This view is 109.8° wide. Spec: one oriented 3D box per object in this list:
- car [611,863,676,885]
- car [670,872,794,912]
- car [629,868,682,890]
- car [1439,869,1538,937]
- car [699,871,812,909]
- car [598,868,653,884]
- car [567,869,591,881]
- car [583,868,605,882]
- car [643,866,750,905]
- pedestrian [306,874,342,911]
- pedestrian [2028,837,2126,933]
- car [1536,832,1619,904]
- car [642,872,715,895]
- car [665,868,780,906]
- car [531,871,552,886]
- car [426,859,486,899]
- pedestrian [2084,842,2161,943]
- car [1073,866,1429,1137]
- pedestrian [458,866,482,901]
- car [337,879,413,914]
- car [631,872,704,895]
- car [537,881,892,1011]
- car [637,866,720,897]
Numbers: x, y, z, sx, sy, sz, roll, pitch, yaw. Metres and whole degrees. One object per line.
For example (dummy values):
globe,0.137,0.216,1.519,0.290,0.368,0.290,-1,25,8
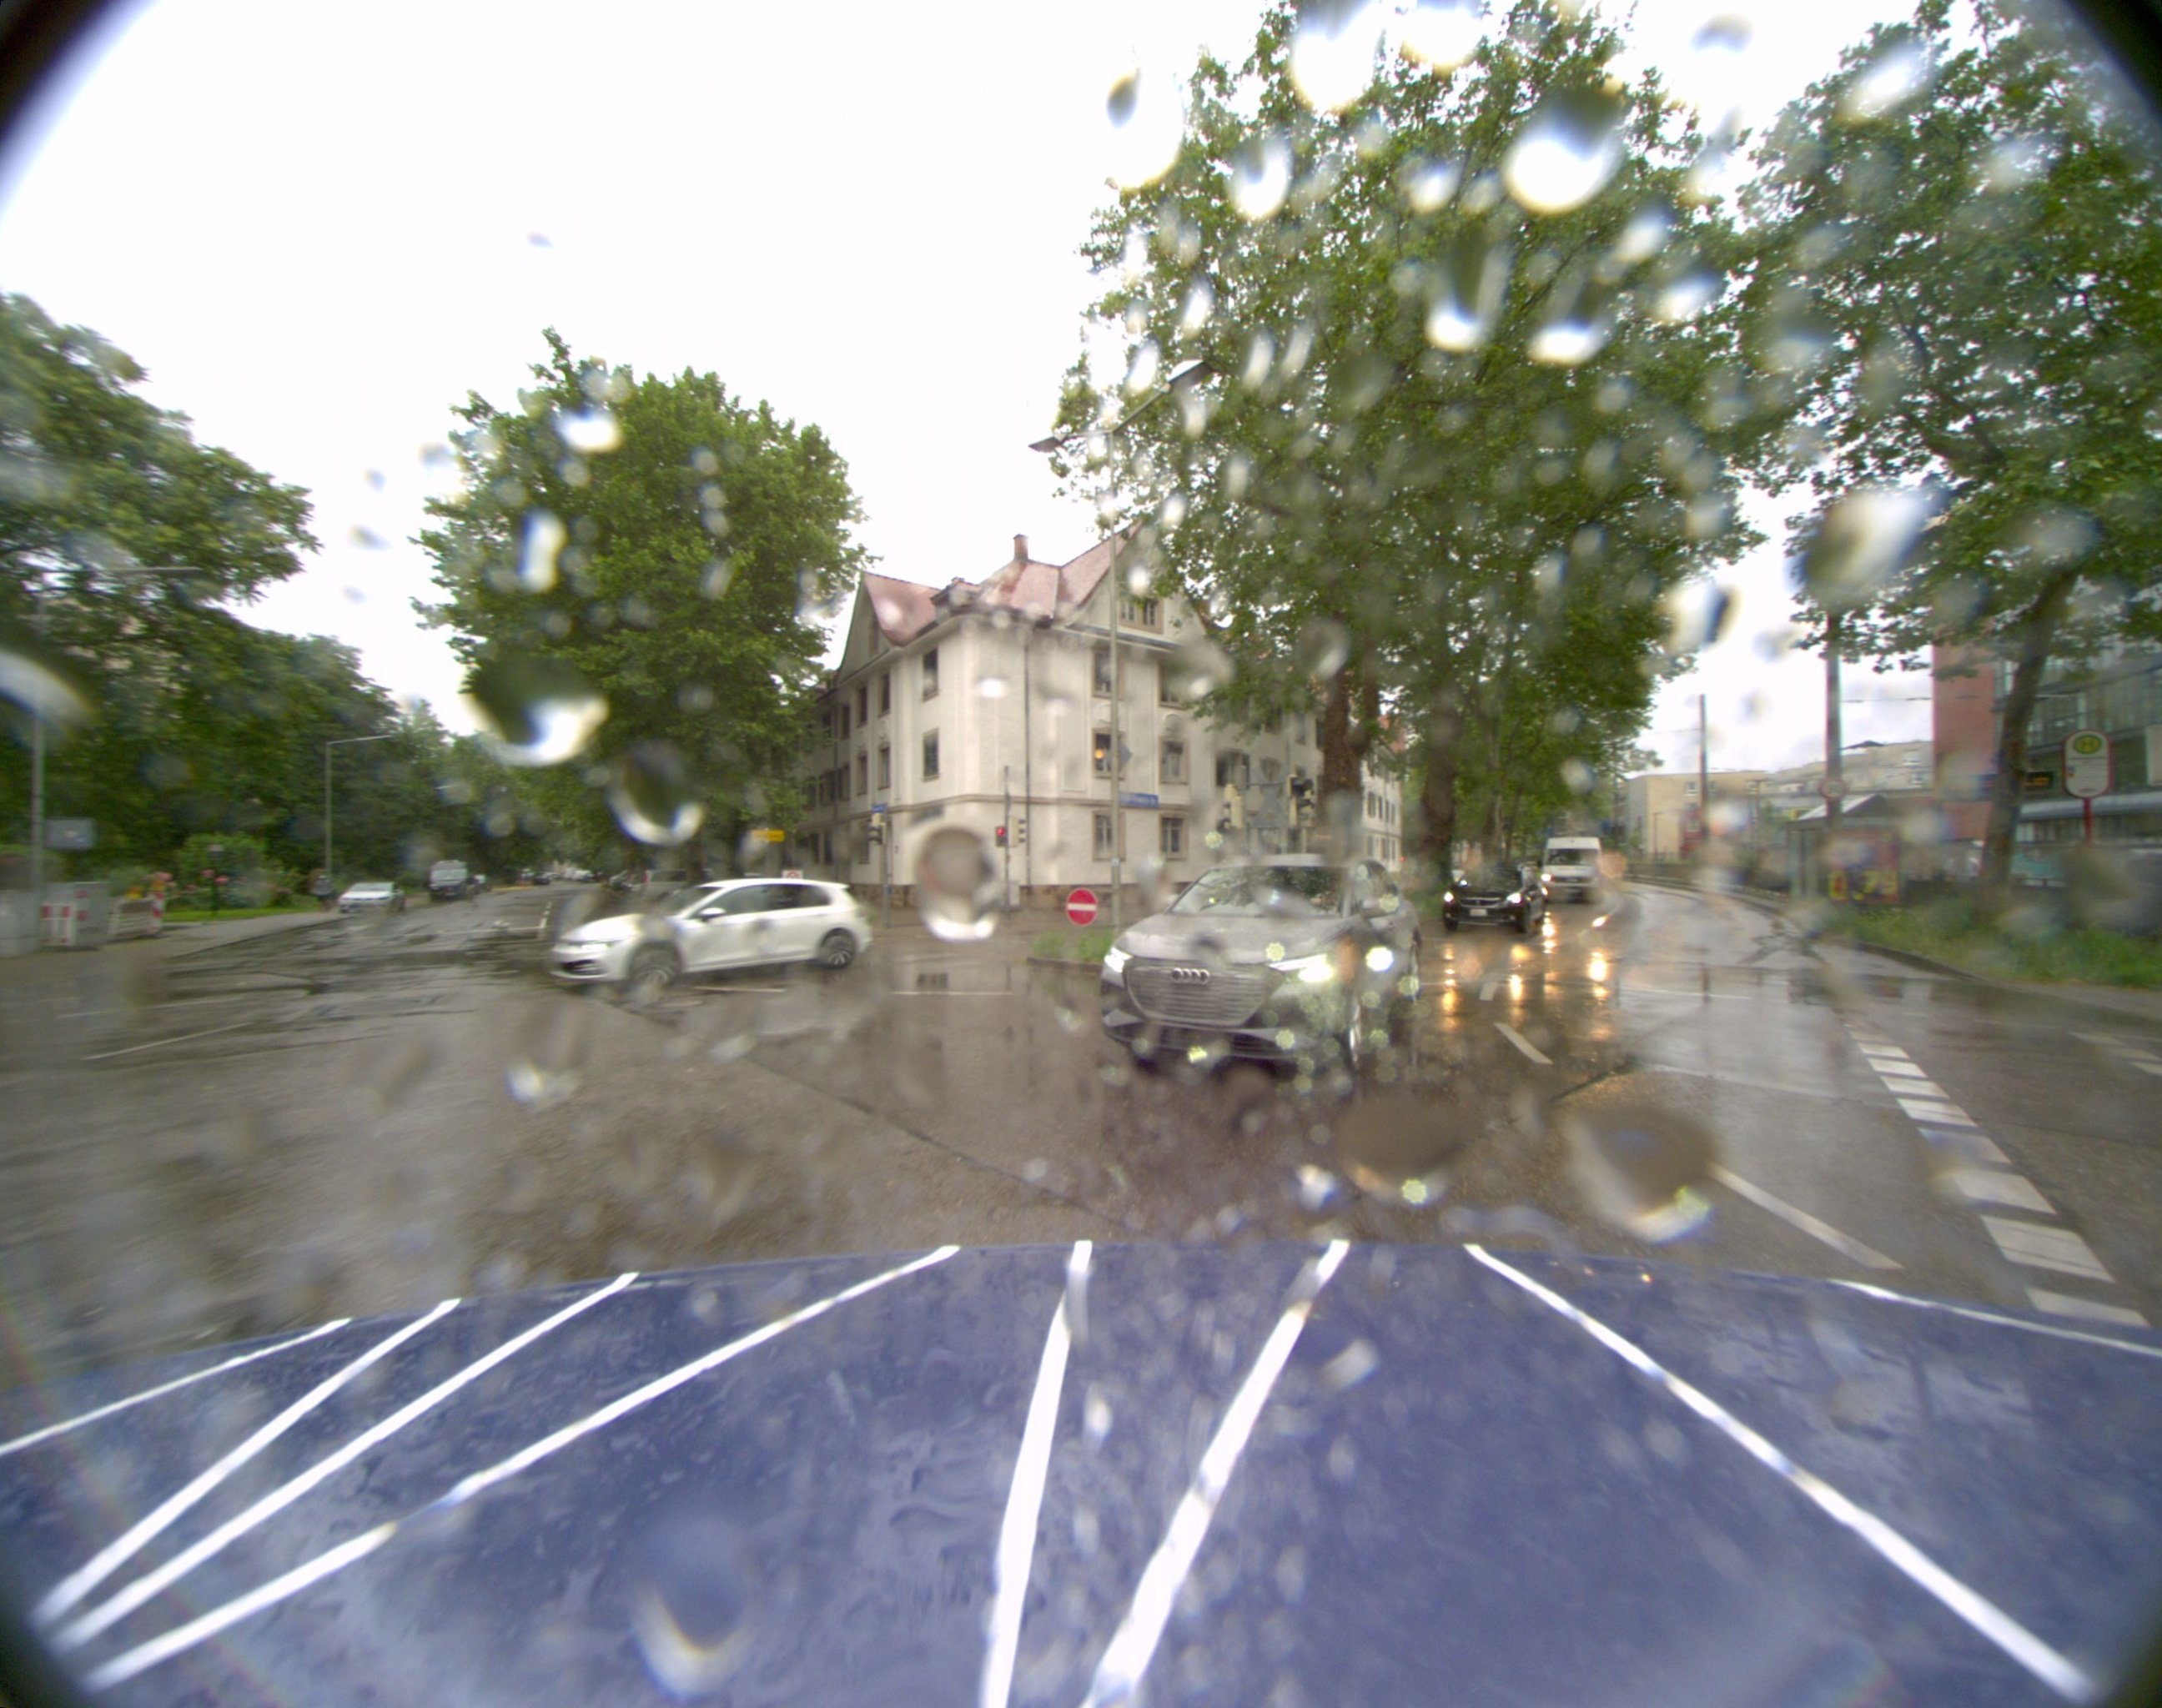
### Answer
car,-40.347,1.843,70.067,5.099,2.011,2.028,1,-1,-34
car,-15.468,1.630,33.779,4.750,1.612,1.925,1,-1,-36
car,-35.084,2.039,62.640,3.730,1.680,1.933,0,-1,-34
car,9.860,1.078,18.243,1.849,1.435,4.009,-1,-1,31
car,-13.550,1.456,31.740,4.007,1.346,1.792,-1,0,-38
car,-45.667,2.169,76.233,4.681,1.595,2.028,1,-1,-34
car,-69.814,2.953,105.731,3.685,1.613,2.004,-1,0,44
car,-66.088,2.854,103.103,2.004,1.795,3.989,-1,0,-39
car,-19.570,1.547,38.736,4.681,1.862,2.028,1,-1,-34
pedestrian,-34.568,1.748,34.702,0.945,1.650,0.926,0,-1,-30
pedestrian,19.525,0.599,14.921,0.858,1.821,0.851,-1,-1,27
car,19.956,0.490,30.358,2.278,2.547,6.525,-1,0,37
car,-28.539,2.075,53.966,4.419,1.575,1.923,1,-1,-34
car,-16.874,1.515,35.870,4.681,1.680,2.028,1,-1,-34
car,-70.545,3.190,99.267,2.004,1.795,4.339,-1,0,-38
car,-40.734,1.584,49.686,2.407,2.460,5.678,0,-1,-33
pedestrian,18.038,0.641,12.931,0.858,1.678,0.851,-1,-1,27
car,1.810,0.921,6.762,1.805,1.611,4.146,-1,-1,32
pedestrian,-36.262,1.747,45.114,0.945,2.050,1.078,0,-1,-30
car,-33.008,1.934,35.634,1.826,1.451,4.262,-1,0,-32
car,-30.304,2.150,55.747,4.538,1.561,2.028,1,-1,-34
car,-5.248,1.191,11.384,1.778,1.424,4.408,-2,-1,42
car,-25.601,1.736,48.353,4.452,1.888,2.028,1,-1,-36
